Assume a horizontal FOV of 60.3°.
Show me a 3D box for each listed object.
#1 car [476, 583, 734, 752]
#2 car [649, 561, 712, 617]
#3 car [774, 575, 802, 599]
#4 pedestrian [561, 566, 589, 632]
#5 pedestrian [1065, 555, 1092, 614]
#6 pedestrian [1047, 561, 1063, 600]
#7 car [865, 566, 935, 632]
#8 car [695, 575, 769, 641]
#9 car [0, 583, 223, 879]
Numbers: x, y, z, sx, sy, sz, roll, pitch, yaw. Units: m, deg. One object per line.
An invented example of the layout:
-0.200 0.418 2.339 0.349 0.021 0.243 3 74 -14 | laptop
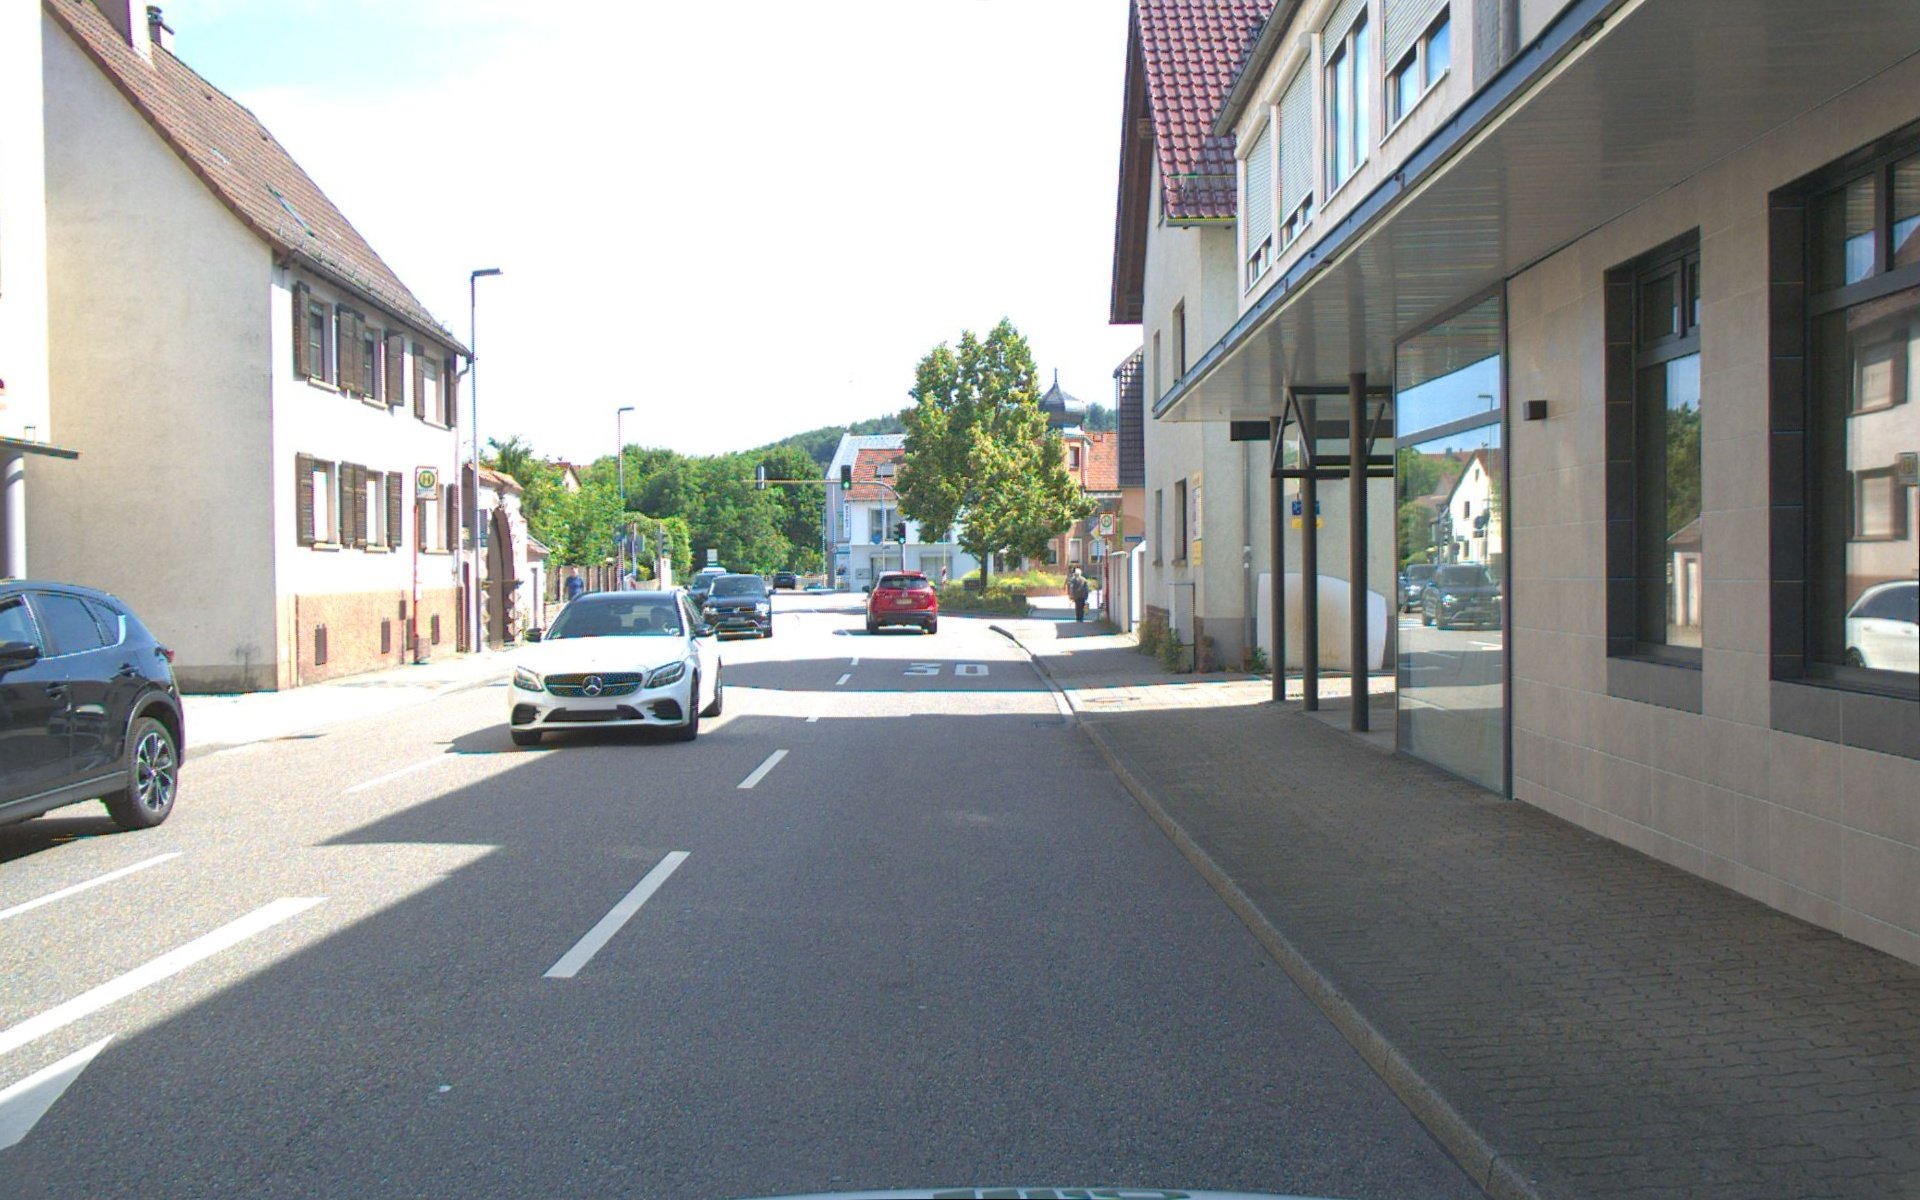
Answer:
-3.574 0.614 17.596 1.948 1.469 5.096 -2 0 -4 | car
-9.989 -0.373 59.429 1.739 1.816 3.836 -2 -2 -3 | car
-14.166 -1.070 136.618 1.893 1.825 3.955 -2 -2 -1 | car
-11.171 -0.029 47.972 0.653 1.856 0.797 -2 -2 -7 | pedestrian
3.599 -0.464 50.269 0.630 1.737 0.699 -2 -2 -7 | pedestrian
4.686 -0.955 81.748 0.630 1.912 0.651 -2 -2 -7 | pedestrian
-1.666 -0.034 45.516 1.821 1.744 4.420 0 0 -2 | car
-6.103 0.165 44.011 1.805 1.559 4.244 -2 2 -9 | car
-6.216 0.760 9.698 1.830 1.617 4.516 -3 0 -2 | car
